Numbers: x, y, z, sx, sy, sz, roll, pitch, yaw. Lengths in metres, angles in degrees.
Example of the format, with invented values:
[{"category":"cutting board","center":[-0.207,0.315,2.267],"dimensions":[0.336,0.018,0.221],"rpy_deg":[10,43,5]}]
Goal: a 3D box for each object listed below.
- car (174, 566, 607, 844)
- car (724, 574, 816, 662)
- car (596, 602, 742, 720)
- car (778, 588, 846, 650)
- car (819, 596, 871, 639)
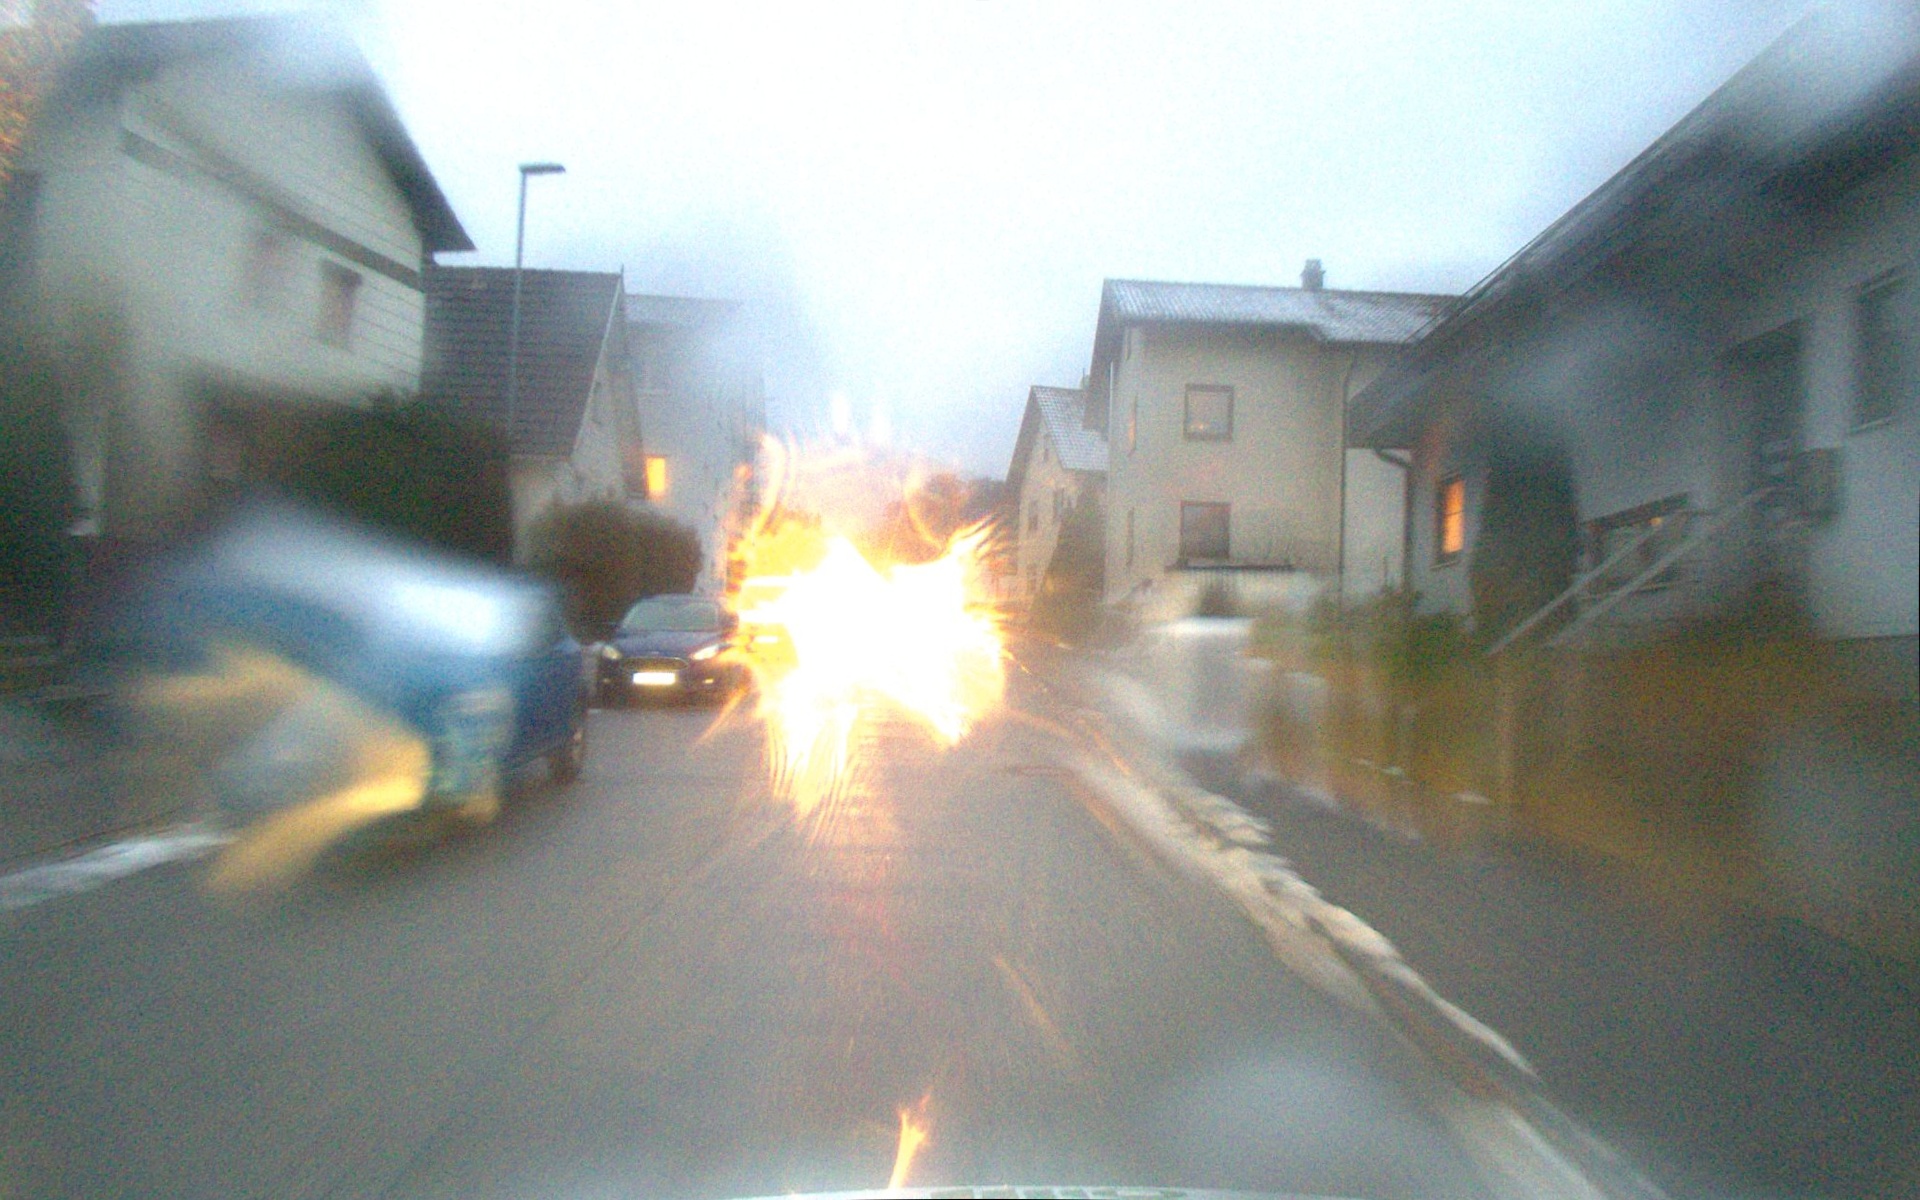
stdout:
[{"category":"car","center":[-3.801,0.652,11.844],"dimensions":[1.649,1.612,4.175],"rpy_deg":[1,-1,0]},{"category":"car","center":[-4.220,0.385,37.199],"dimensions":[1.789,1.867,4.342],"rpy_deg":[0,0,-3]},{"category":"car","center":[-4.078,0.801,23.757],"dimensions":[1.759,1.530,4.304],"rpy_deg":[0,0,-6]},{"category":"car","center":[-4.573,0.575,51.494],"dimensions":[1.954,1.832,3.998],"rpy_deg":[0,0,-3]},{"category":"car","center":[-4.812,0.765,69.621],"dimensions":[1.953,1.679,3.999],"rpy_deg":[1,-2,-1]}]
